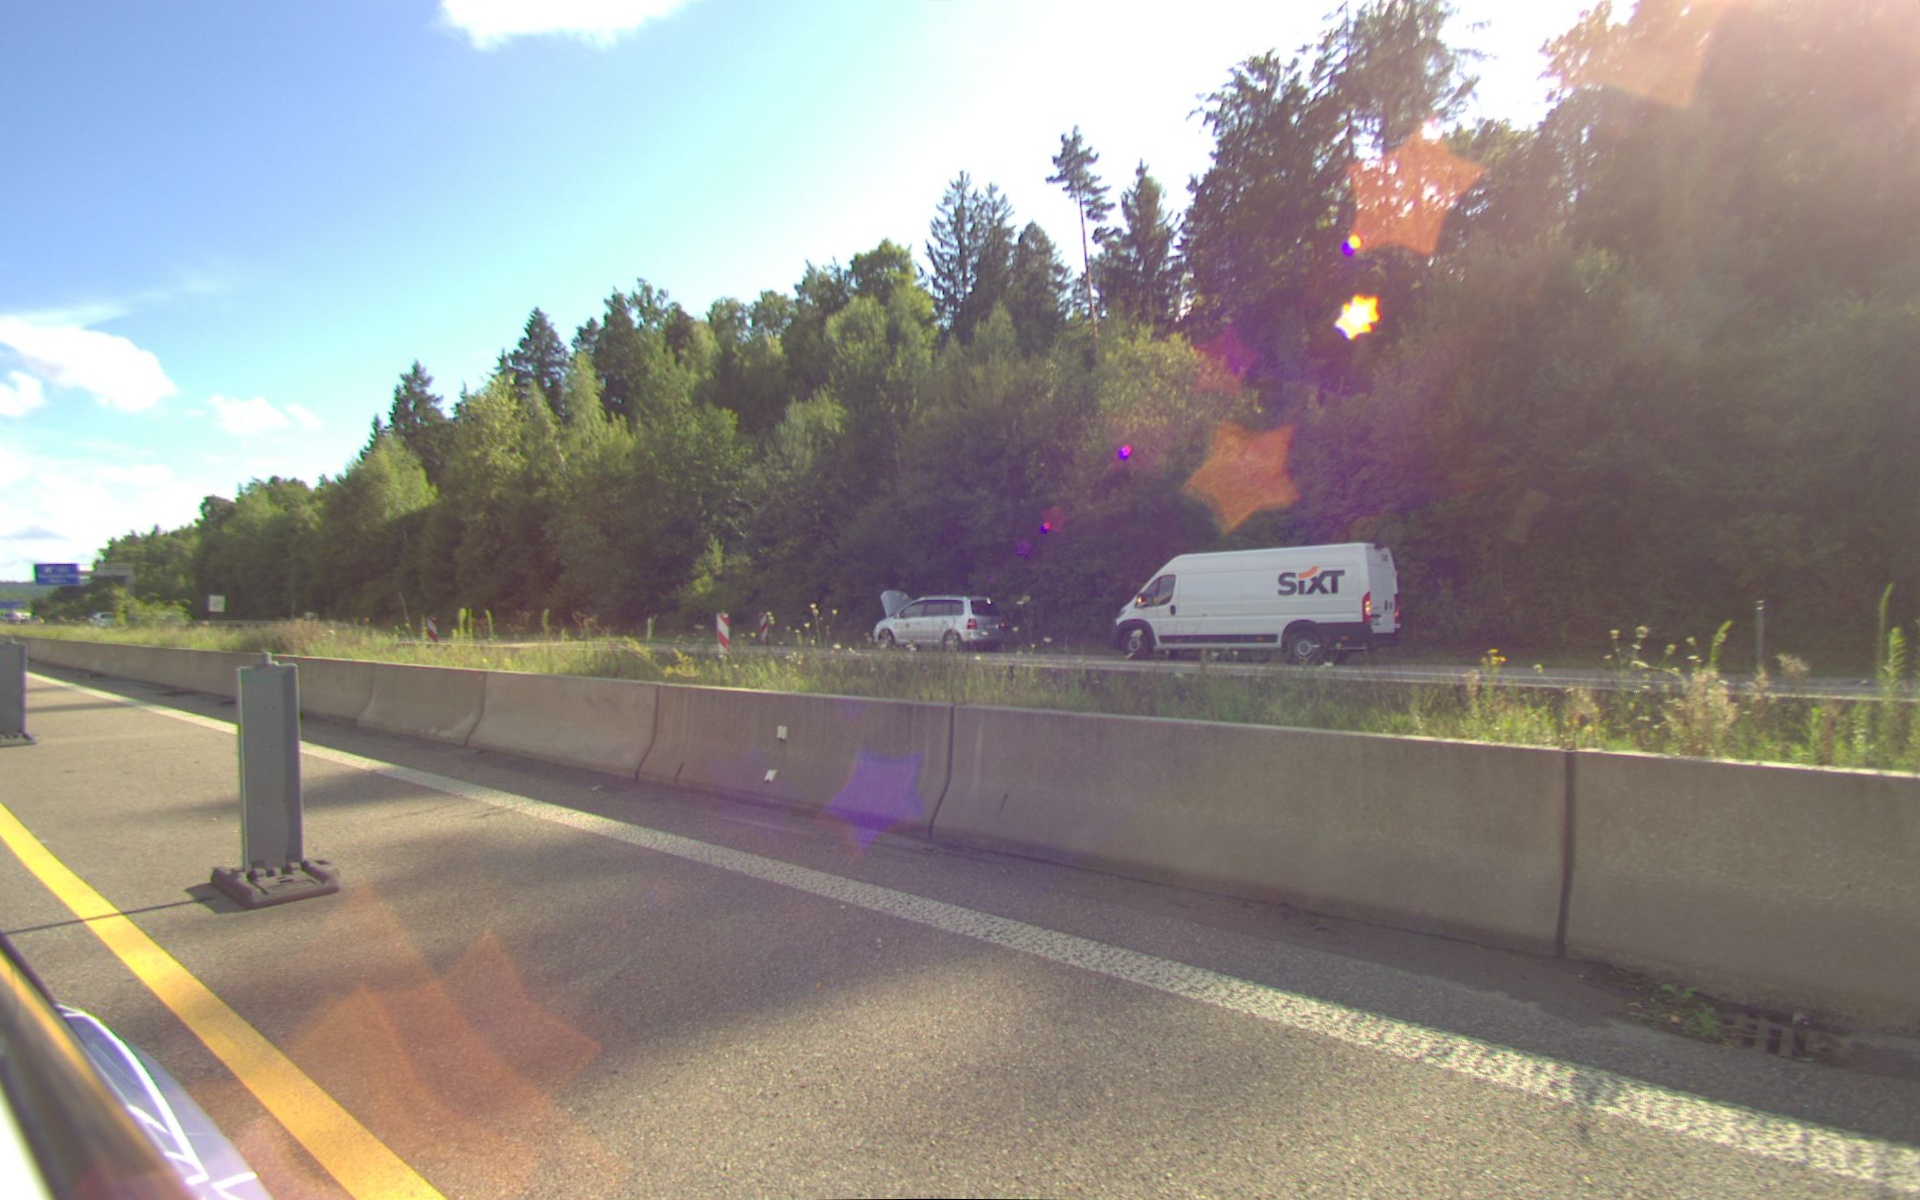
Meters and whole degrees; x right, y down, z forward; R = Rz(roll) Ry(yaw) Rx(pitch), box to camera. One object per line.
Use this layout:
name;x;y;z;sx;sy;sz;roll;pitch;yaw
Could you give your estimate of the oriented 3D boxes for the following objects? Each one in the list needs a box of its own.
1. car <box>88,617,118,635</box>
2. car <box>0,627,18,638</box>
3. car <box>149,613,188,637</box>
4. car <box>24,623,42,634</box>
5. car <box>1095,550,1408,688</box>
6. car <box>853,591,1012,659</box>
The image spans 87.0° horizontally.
car;-89.558;2.703;105.731;4.363;1.799;1.759;-1;0;42
car;-143.277;4.868;152.286;4.103;1.467;1.759;-1;0;42
car;-63.772;2.002;81.522;4.363;1.799;1.759;-1;0;42
car;-159.629;4.888;174.257;4.616;1.701;1.759;-1;0;42
car;6.348;0.394;22.790;6.520;2.705;2.006;-1;0;42
car;-0.892;0.706;30.018;4.760;1.867;1.841;-1;0;42
